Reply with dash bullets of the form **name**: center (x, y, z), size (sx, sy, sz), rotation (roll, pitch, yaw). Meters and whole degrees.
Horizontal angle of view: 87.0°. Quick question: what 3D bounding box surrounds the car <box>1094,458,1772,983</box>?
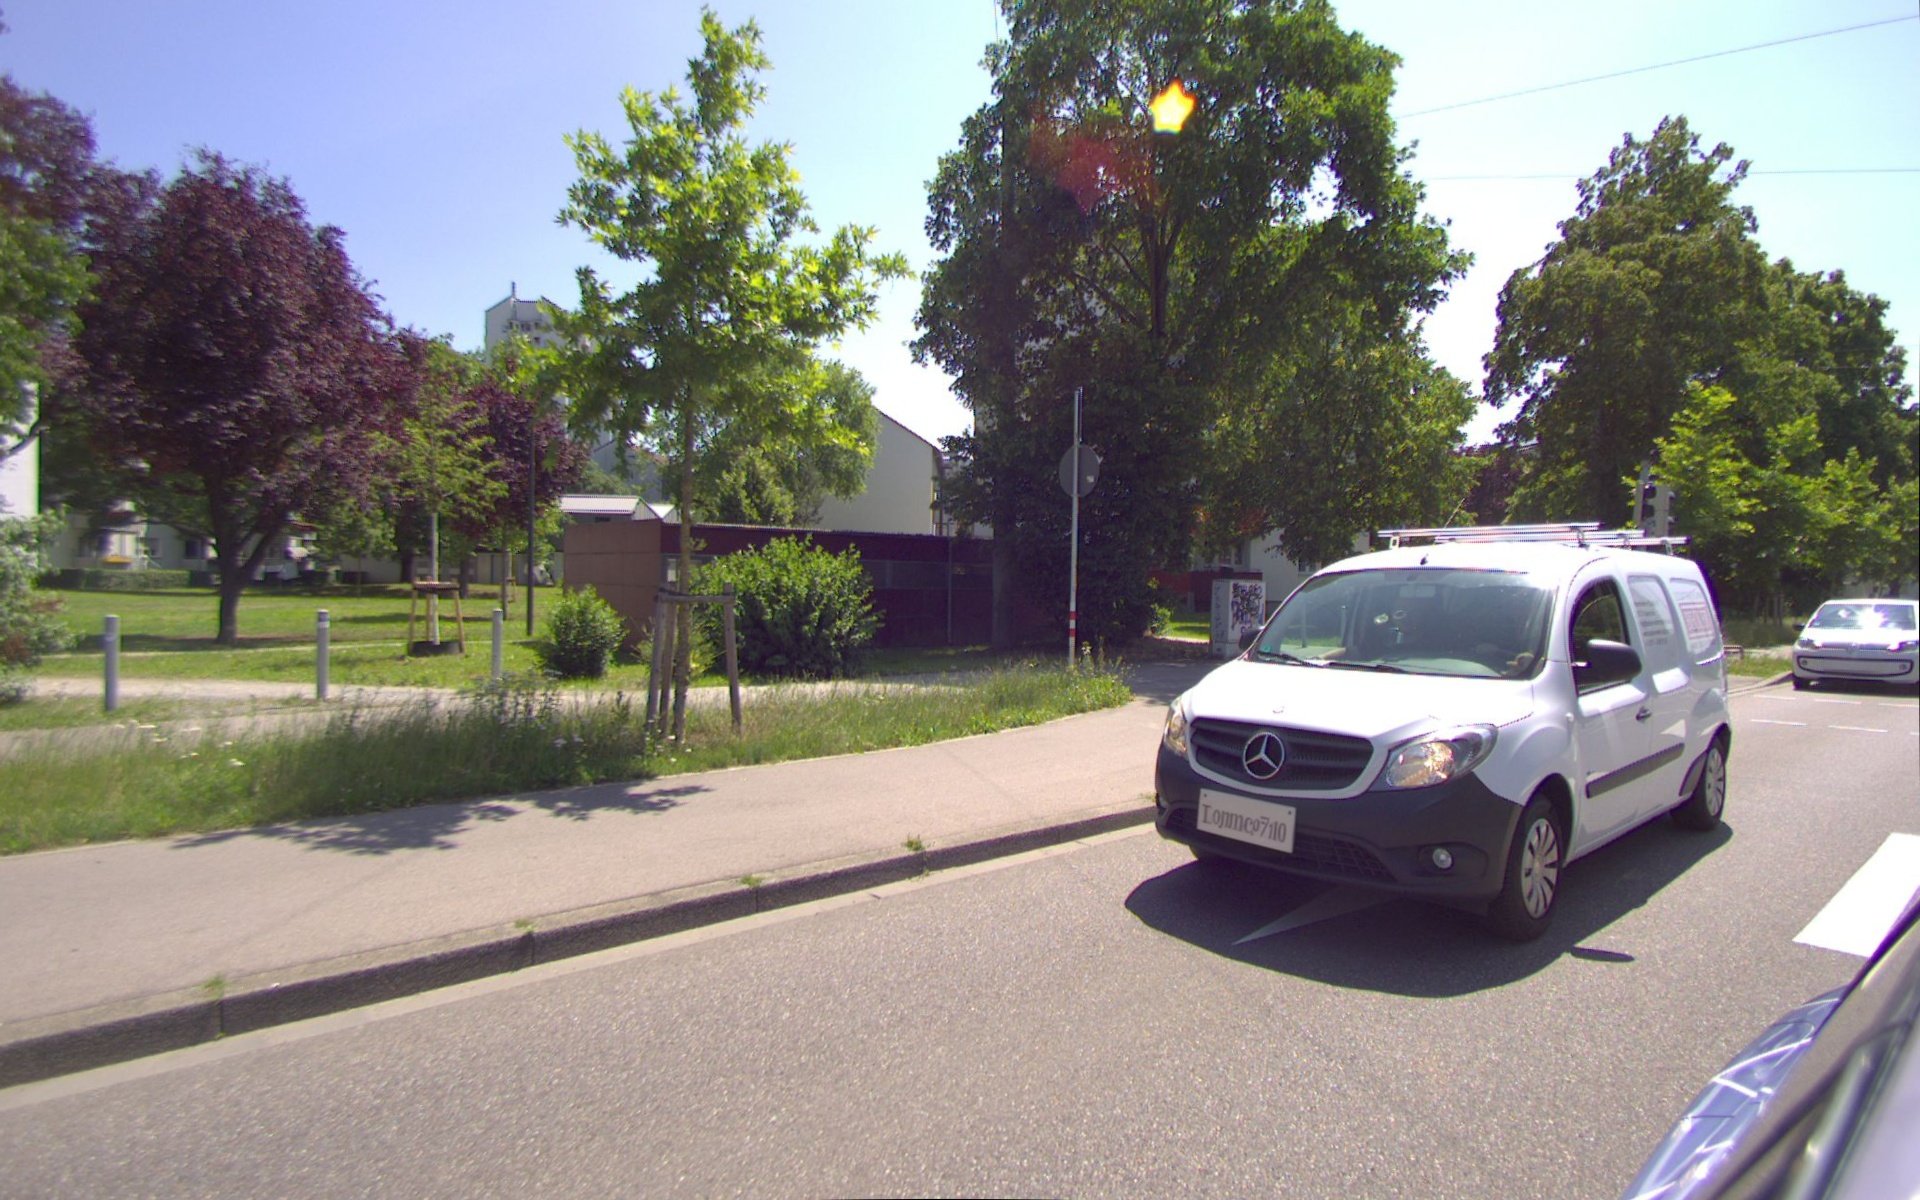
- **car**: center (3.117, 0.417, 5.967), size (4.994, 1.879, 1.807), rotation (0, 0, -42)

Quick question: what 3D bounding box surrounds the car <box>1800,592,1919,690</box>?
- **car**: center (15.259, 0.598, 16.701), size (3.437, 1.459, 1.625), rotation (0, 0, -41)
